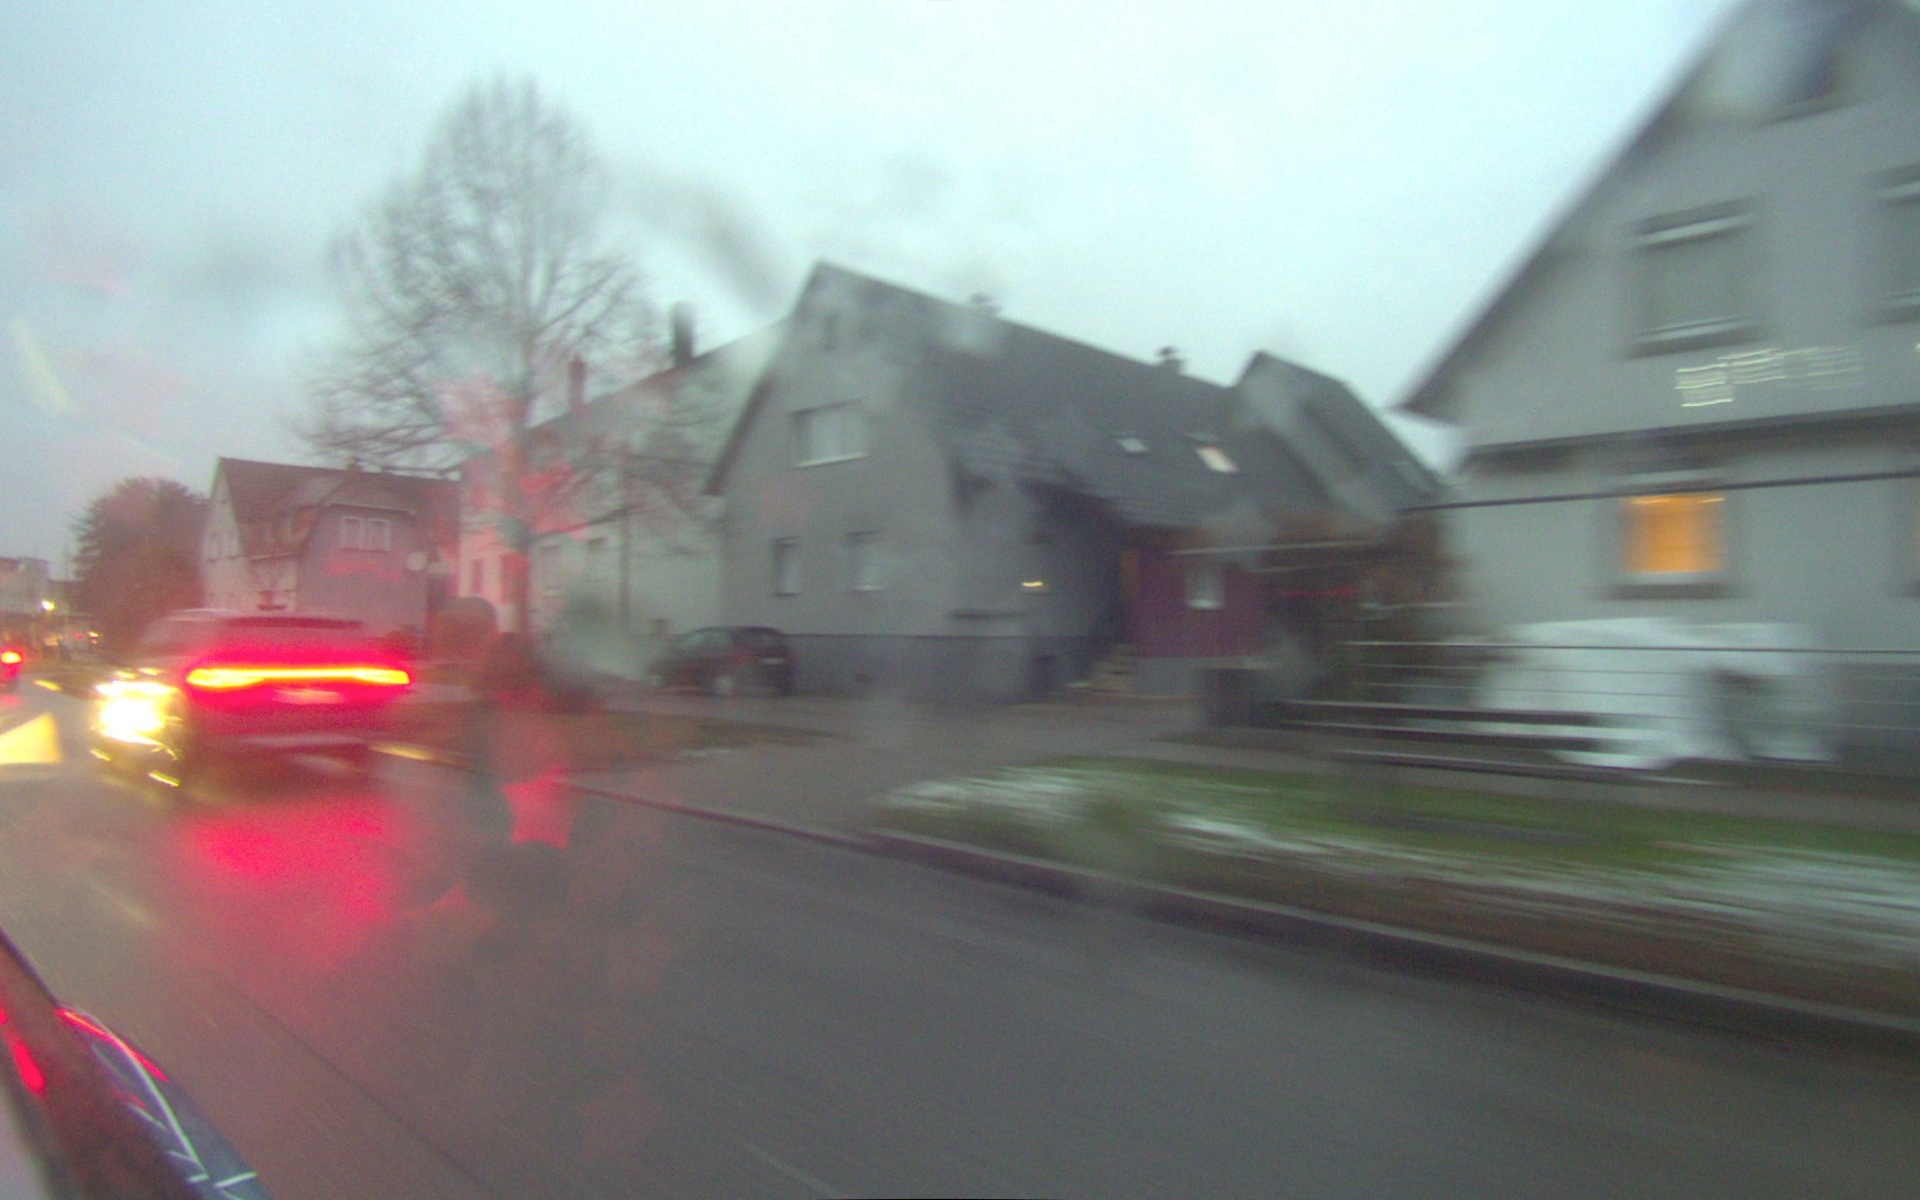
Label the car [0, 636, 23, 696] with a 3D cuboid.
[{"bbox_3d":[-25.431,1.634,25.930,4.424,1.452,1.685,-2,-4,43],"label":"car"}]

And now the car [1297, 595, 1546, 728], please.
[{"bbox_3d":[7.449,0.926,16.125,4.496,1.814,1.914,2,-3,-41],"label":"car"}]

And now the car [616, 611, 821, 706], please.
[{"bbox_3d":[-5.126,1.157,21.158,4.568,1.769,1.972,-2,-3,43],"label":"car"}]

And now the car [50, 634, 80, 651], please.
[{"bbox_3d":[-93.703,4.409,105.960,1.937,1.711,4.010,0,-1,-36],"label":"car"}]

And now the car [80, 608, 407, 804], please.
[{"bbox_3d":[-7.592,0.980,10.574,4.222,1.645,1.795,-2,-4,41],"label":"car"}]
